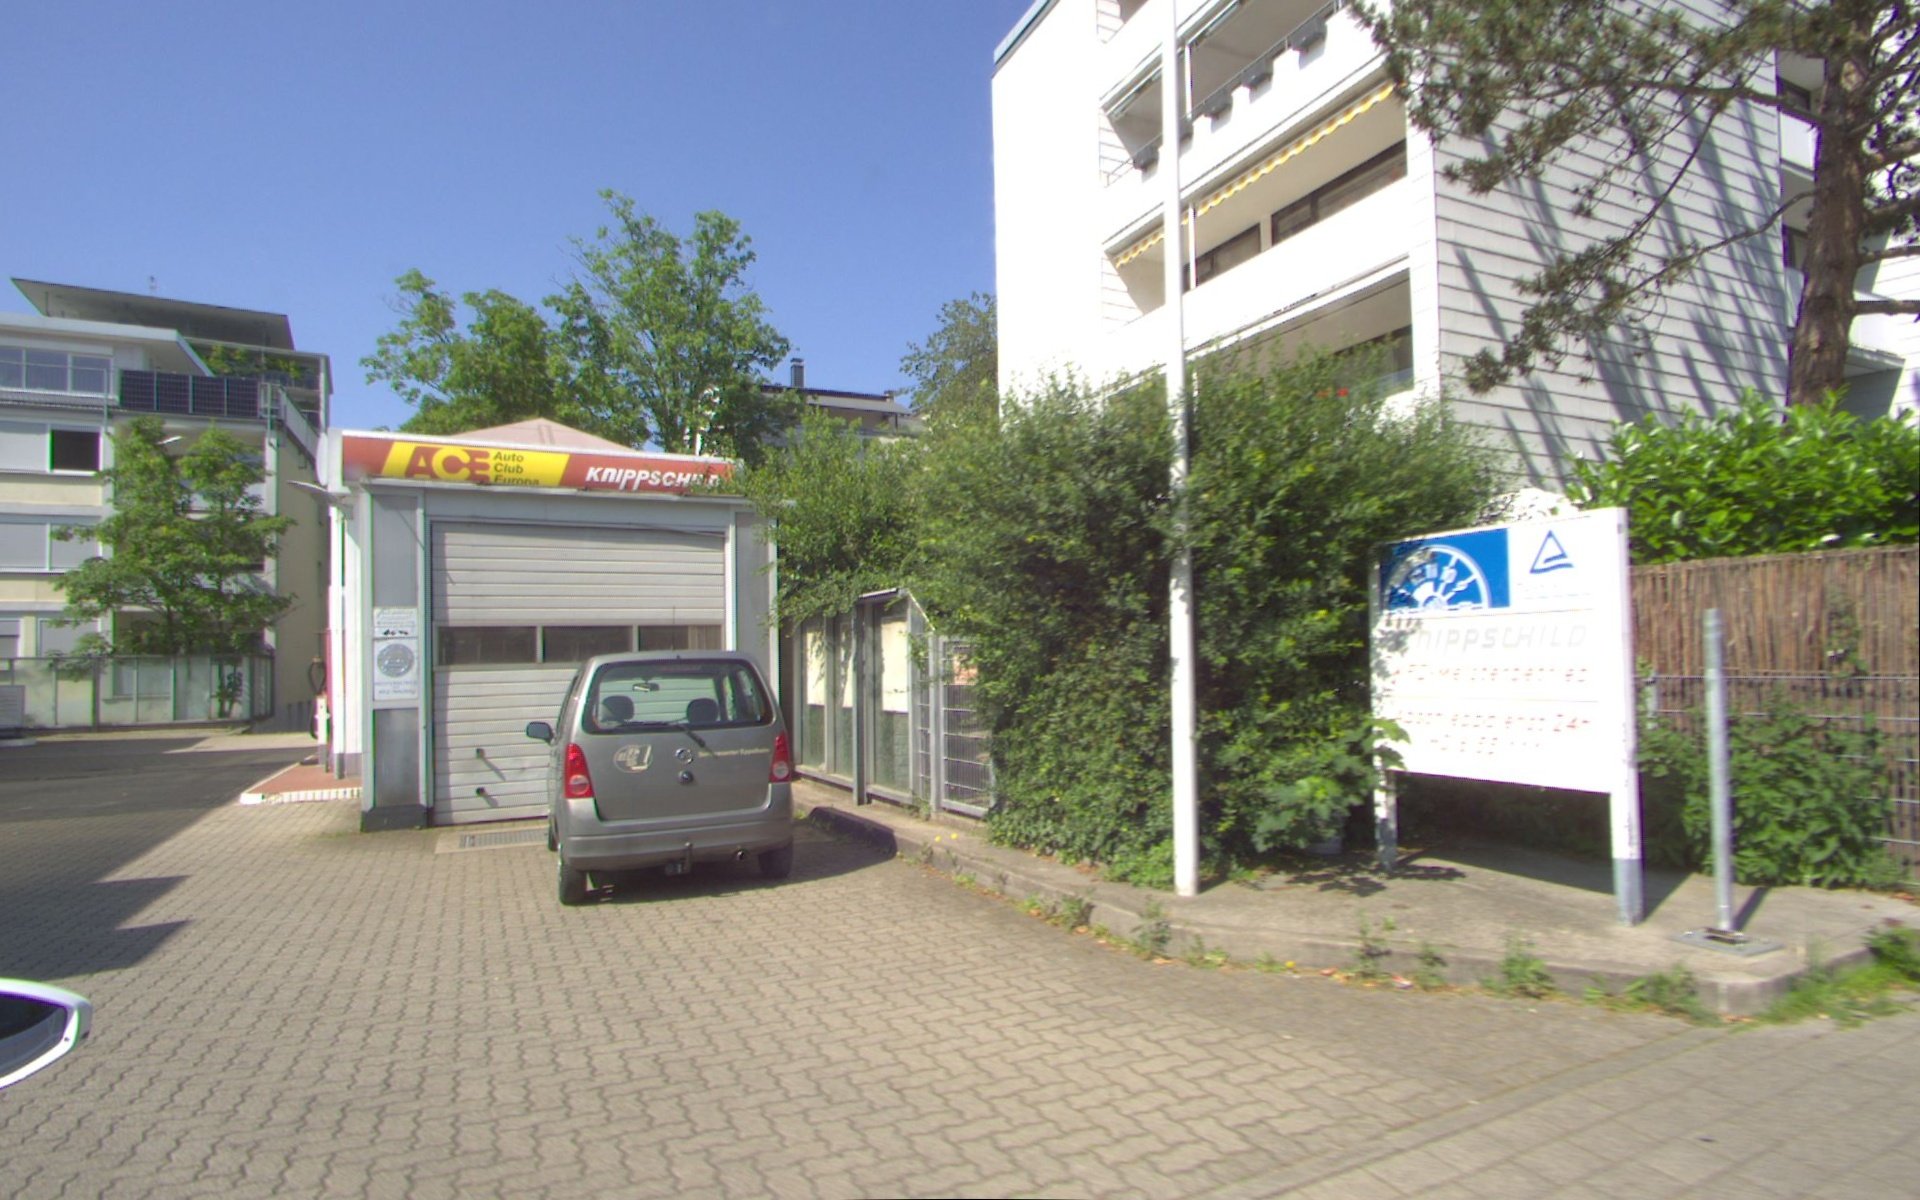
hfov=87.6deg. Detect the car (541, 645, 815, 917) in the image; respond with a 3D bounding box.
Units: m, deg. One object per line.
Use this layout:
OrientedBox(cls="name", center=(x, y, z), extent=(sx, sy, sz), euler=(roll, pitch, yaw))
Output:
OrientedBox(cls="car", center=(-2.487, 1.279, 8.153), extent=(1.665, 1.636, 3.655), euler=(0, -5, -24))
